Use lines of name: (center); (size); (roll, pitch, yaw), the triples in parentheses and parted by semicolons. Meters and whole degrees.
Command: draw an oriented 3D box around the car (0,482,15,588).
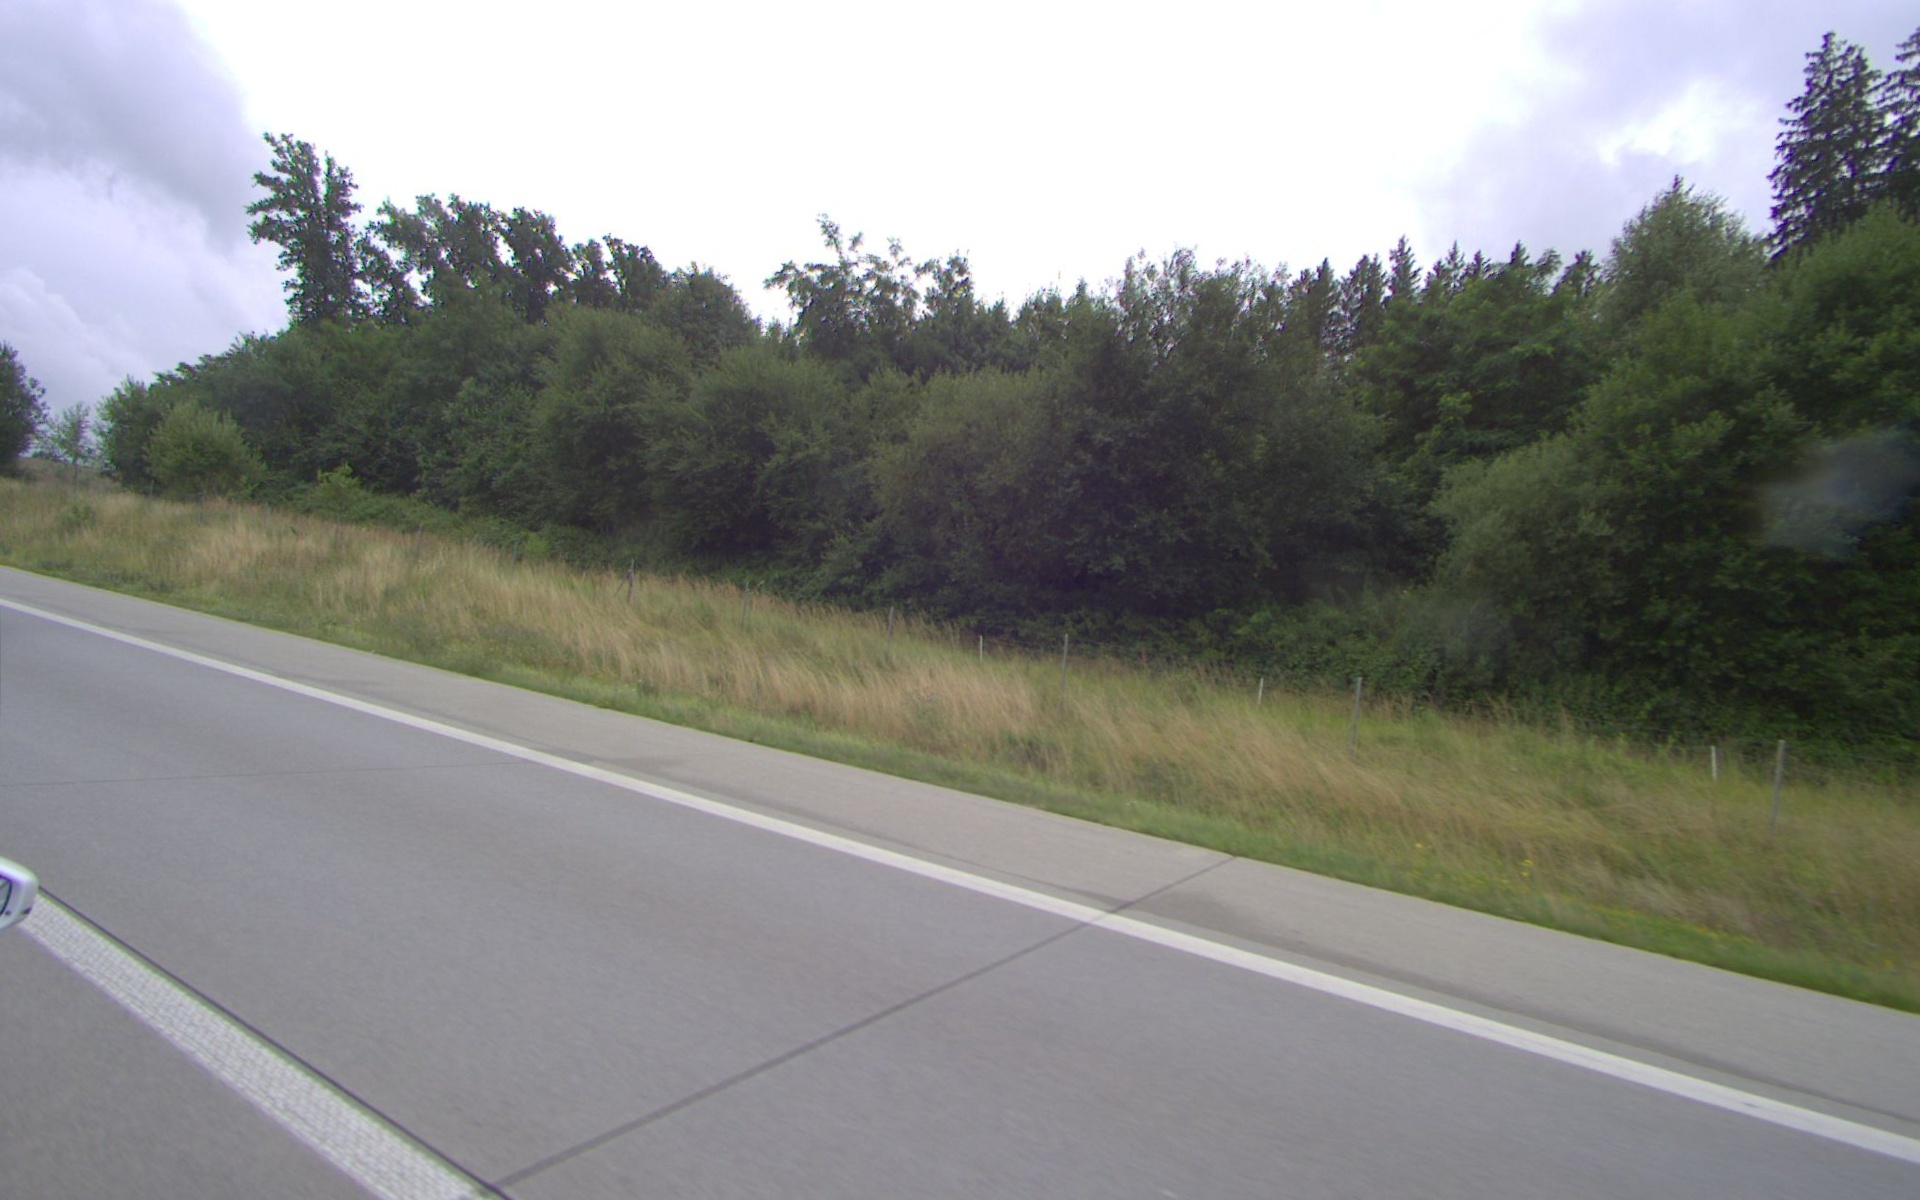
car: (-12.829, -0.758, 11.478); (3.918, 1.674, 1.830); (7, -2, 31)
